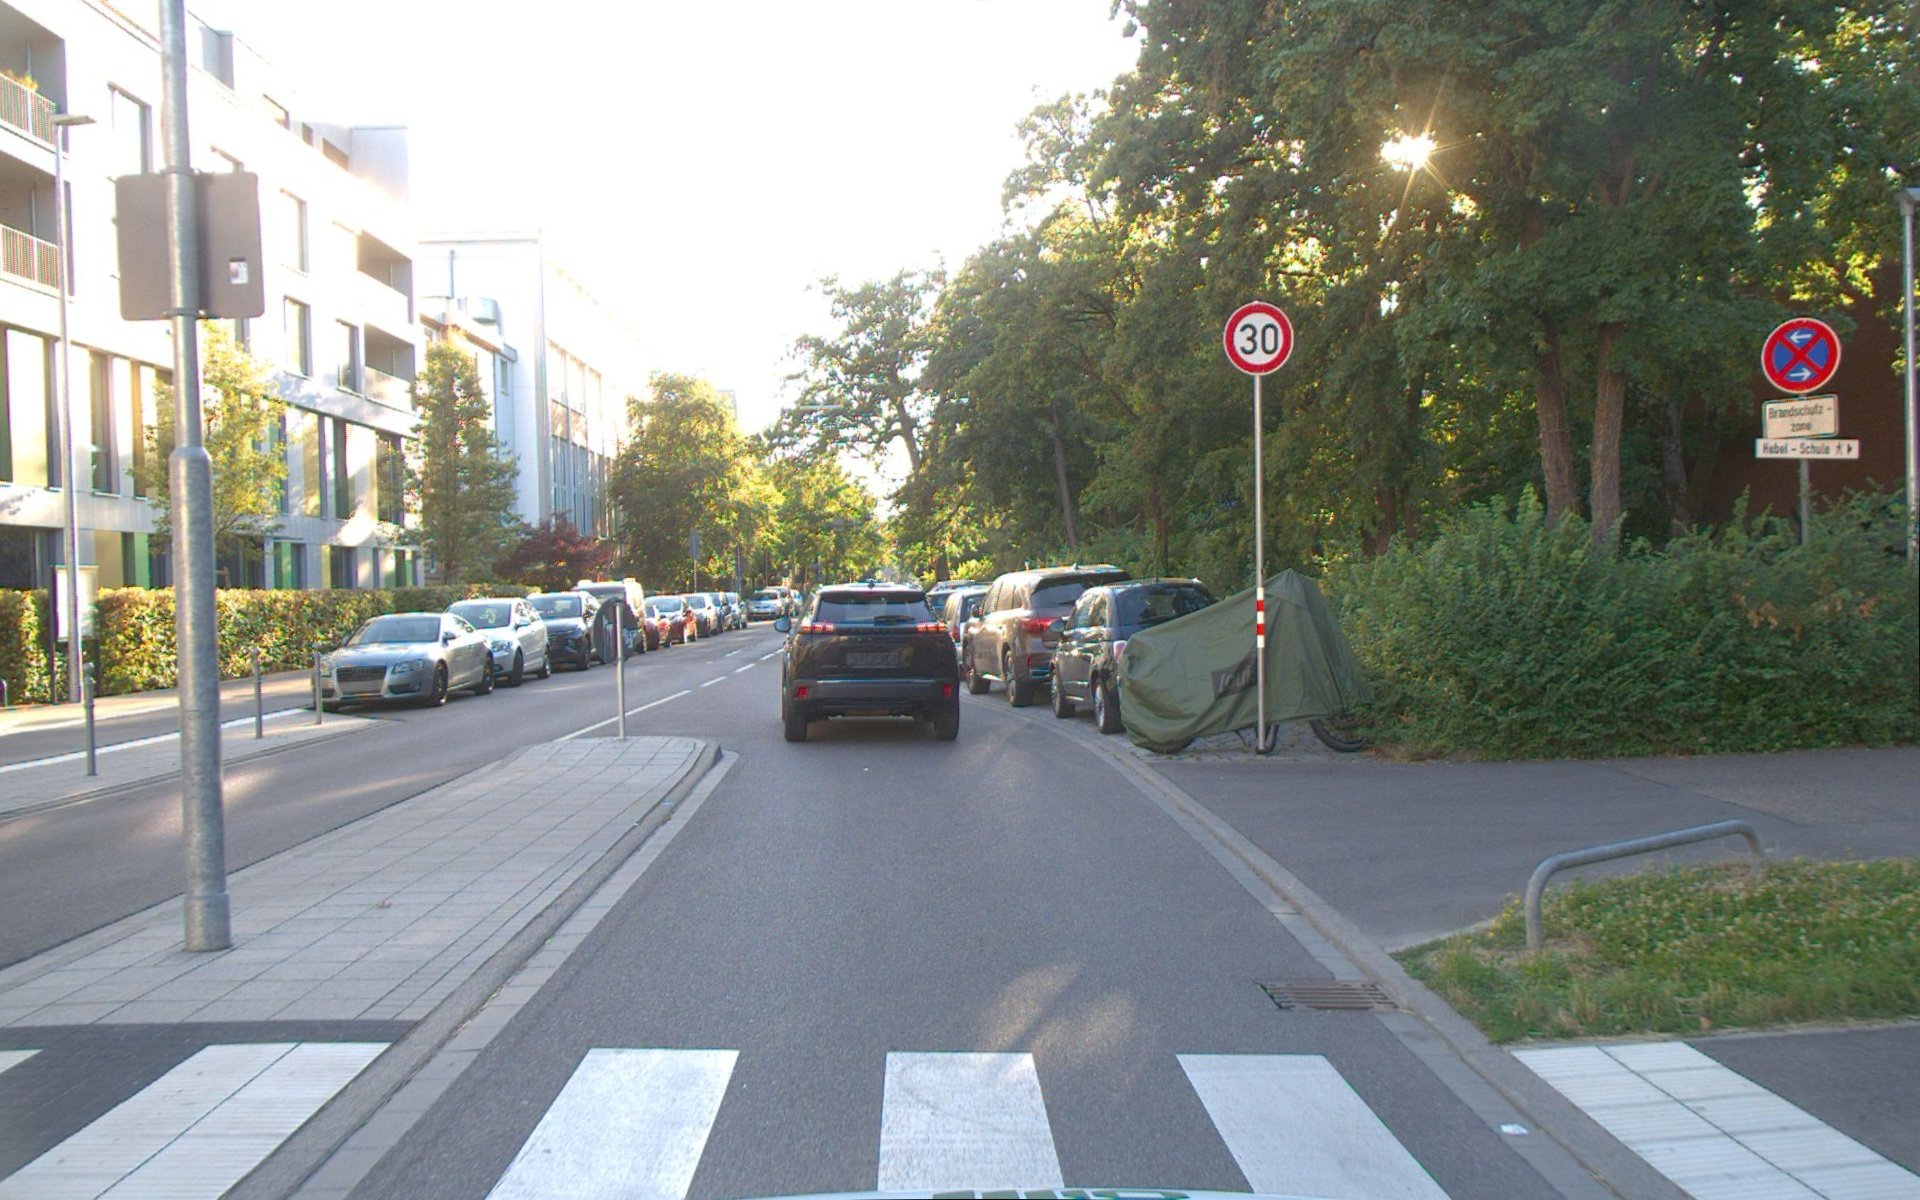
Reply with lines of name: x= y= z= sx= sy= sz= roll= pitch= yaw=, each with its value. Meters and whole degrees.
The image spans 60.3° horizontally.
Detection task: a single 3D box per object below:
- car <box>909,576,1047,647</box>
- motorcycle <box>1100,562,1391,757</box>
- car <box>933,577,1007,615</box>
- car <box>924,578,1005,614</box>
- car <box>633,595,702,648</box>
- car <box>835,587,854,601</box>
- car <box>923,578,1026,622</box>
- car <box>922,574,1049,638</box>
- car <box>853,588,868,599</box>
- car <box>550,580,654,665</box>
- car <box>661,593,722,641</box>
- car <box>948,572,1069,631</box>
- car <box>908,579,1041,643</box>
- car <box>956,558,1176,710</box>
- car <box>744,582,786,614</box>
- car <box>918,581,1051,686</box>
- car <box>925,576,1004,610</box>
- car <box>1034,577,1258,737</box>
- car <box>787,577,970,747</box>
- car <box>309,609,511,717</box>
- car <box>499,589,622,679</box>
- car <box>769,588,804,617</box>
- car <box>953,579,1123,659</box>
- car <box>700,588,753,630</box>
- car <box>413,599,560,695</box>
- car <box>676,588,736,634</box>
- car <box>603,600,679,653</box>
car: x=0.457 y=0.298 z=44.748 sx=3.539 sy=1.551 sz=1.670 roll=-5 pitch=1 yaw=-4
motorcycle: x=2.480 y=0.508 z=14.411 sx=2.248 sy=1.572 sz=1.038 roll=-2 pitch=0 yaw=28
car: x=0.469 y=-0.182 z=81.484 sx=3.517 sy=1.593 sz=1.817 roll=-4 pitch=0 yaw=-3
car: x=0.210 y=-0.216 z=83.956 sx=4.039 sy=1.696 sz=1.722 roll=-2 pitch=0 yaw=-2
car: x=-9.045 y=0.637 z=51.332 sx=1.566 sy=1.480 sz=3.860 roll=-2 pitch=0 yaw=-3
car: x=-12.099 y=-0.685 z=173.409 sx=1.776 sy=1.377 sz=3.995 roll=-2 pitch=1 yaw=-6
car: x=0.586 y=-0.007 z=70.657 sx=4.250 sy=1.500 sz=1.742 roll=-5 pitch=2 yaw=-1
car: x=0.746 y=0.169 z=49.817 sx=3.595 sy=1.579 sz=1.734 roll=-5 pitch=1 yaw=-4
car: x=-12.871 y=-0.851 z=213.481 sx=1.775 sy=1.377 sz=3.975 roll=-2 pitch=1 yaw=-5
car: x=-8.947 y=0.511 z=41.683 sx=1.771 sy=1.922 sz=4.236 roll=-3 pitch=1 yaw=-2
car: x=-9.290 y=0.554 z=57.471 sx=1.567 sy=1.480 sz=4.053 roll=-3 pitch=1 yaw=-2
car: x=1.520 y=0.050 z=52.503 sx=3.651 sy=1.524 sz=1.819 roll=-5 pitch=0 yaw=-1
car: x=0.387 y=0.294 z=47.126 sx=3.595 sy=1.469 sz=1.734 roll=-5 pitch=1 yaw=-4
car: x=1.305 y=0.401 z=22.560 sx=1.887 sy=1.779 sz=4.655 roll=-2 pitch=1 yaw=-10
car: x=-9.879 y=-0.102 z=83.994 sx=1.637 sy=1.520 sz=4.060 roll=-2 pitch=1 yaw=-1
car: x=0.345 y=0.523 z=28.527 sx=1.620 sy=1.595 sz=4.294 roll=-2 pitch=1 yaw=-8
car: x=0.267 y=-0.379 z=88.696 sx=4.083 sy=1.740 sz=1.868 roll=-1 pitch=1 yaw=2
car: x=1.937 y=0.552 z=18.179 sx=1.590 sy=1.512 sz=3.412 roll=-2 pitch=1 yaw=-8
car: x=-0.928 y=0.568 z=17.365 sx=1.734 sy=1.596 sz=3.376 roll=0 pitch=0 yaw=-6
car: x=-8.395 y=0.907 z=25.669 sx=1.707 sy=1.380 sz=4.395 roll=-2 pitch=1 yaw=-1
car: x=-8.665 y=0.678 z=36.246 sx=1.707 sy=1.705 sz=4.415 roll=-3 pitch=1 yaw=-2
car: x=-10.116 y=0.120 z=96.507 sx=1.645 sy=1.482 sz=3.881 roll=-3 pitch=1 yaw=-1
car: x=1.648 y=0.390 z=35.857 sx=3.553 sy=1.567 sz=1.671 roll=-2 pitch=1 yaw=-1
car: x=-9.412 y=0.342 z=66.908 sx=1.568 sy=1.519 sz=3.772 roll=-3 pitch=1 yaw=-1
car: x=-8.697 y=0.811 z=30.699 sx=1.707 sy=1.560 sz=4.113 roll=-2 pitch=1 yaw=-3
car: x=-9.501 y=0.388 z=62.123 sx=1.566 sy=1.534 sz=3.787 roll=-3 pitch=1 yaw=0
car: x=-9.001 y=0.726 z=46.945 sx=1.525 sy=1.302 sz=3.731 roll=-3 pitch=1 yaw=-2
